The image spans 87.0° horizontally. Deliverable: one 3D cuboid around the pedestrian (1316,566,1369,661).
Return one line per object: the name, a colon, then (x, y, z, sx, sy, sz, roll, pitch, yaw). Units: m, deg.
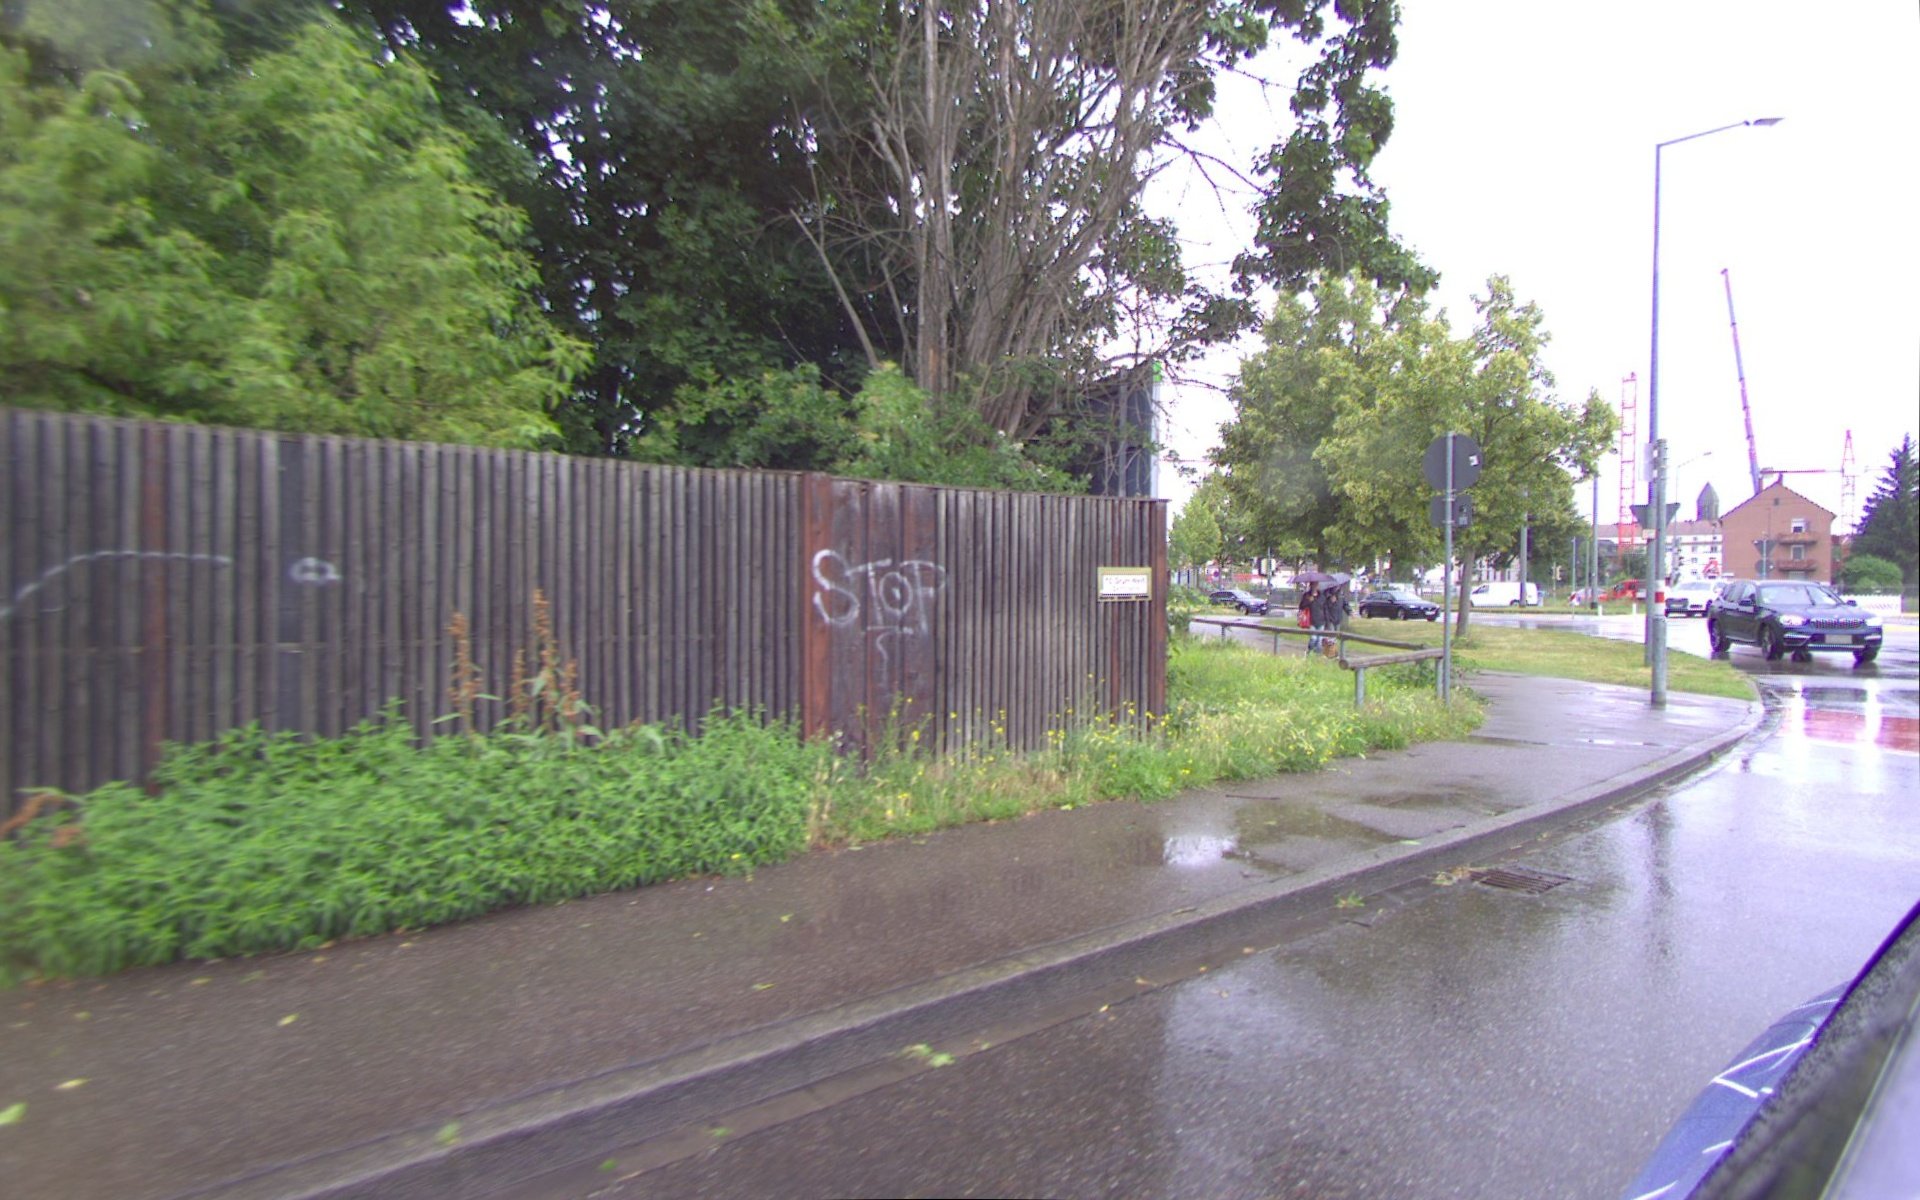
pedestrian: (7.574, 0.252, 20.015, 0.914, 1.806, 0.801, -1, 2, 25)

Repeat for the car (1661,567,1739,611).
car: (33.990, -0.544, 46.435, 4.781, 1.765, 1.776, -4, 3, -39)

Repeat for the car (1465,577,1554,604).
car: (37.497, -0.671, 69.190, 1.799, 1.663, 5.020, -3, 3, -39)

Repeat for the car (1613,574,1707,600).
car: (59.969, -1.177, 86.859, 2.308, 2.038, 6.443, -2, 2, -20)

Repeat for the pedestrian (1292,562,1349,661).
pedestrian: (6.832, 0.207, 19.164, 0.914, 1.806, 0.801, -1, 2, 25)

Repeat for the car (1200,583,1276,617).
car: (16.107, -0.041, 58.819, 1.878, 1.768, 4.392, -3, 2, -23)

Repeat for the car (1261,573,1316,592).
car: (46.507, -2.528, 143.623, 2.312, 2.506, 7.642, -3, 3, -34)

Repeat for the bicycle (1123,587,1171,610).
bicycle: (10.010, -0.070, 54.154, 2.485, 1.204, 0.551, 0, 0, 12)

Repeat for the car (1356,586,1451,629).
car: (20.606, 0.311, 47.254, 1.878, 1.768, 4.392, -2, 2, -11)

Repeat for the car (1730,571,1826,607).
car: (73.166, -1.035, 90.648, 2.308, 2.975, 6.443, -2, 2, -20)

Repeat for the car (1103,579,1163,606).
car: (11.536, -0.546, 67.576, 1.754, 1.668, 4.004, -3, 3, -30)

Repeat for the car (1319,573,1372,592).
car: (54.392, -2.528, 143.054, 2.454, 2.506, 6.839, -3, 3, -34)

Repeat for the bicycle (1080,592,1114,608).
bicycle: (7.549, -0.020, 55.857, 0.624, 0.857, 2.165, -1, 1, -33)

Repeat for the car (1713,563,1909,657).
car: (18.384, 0.131, 22.130, 1.894, 1.768, 4.356, -1, 2, 20)
